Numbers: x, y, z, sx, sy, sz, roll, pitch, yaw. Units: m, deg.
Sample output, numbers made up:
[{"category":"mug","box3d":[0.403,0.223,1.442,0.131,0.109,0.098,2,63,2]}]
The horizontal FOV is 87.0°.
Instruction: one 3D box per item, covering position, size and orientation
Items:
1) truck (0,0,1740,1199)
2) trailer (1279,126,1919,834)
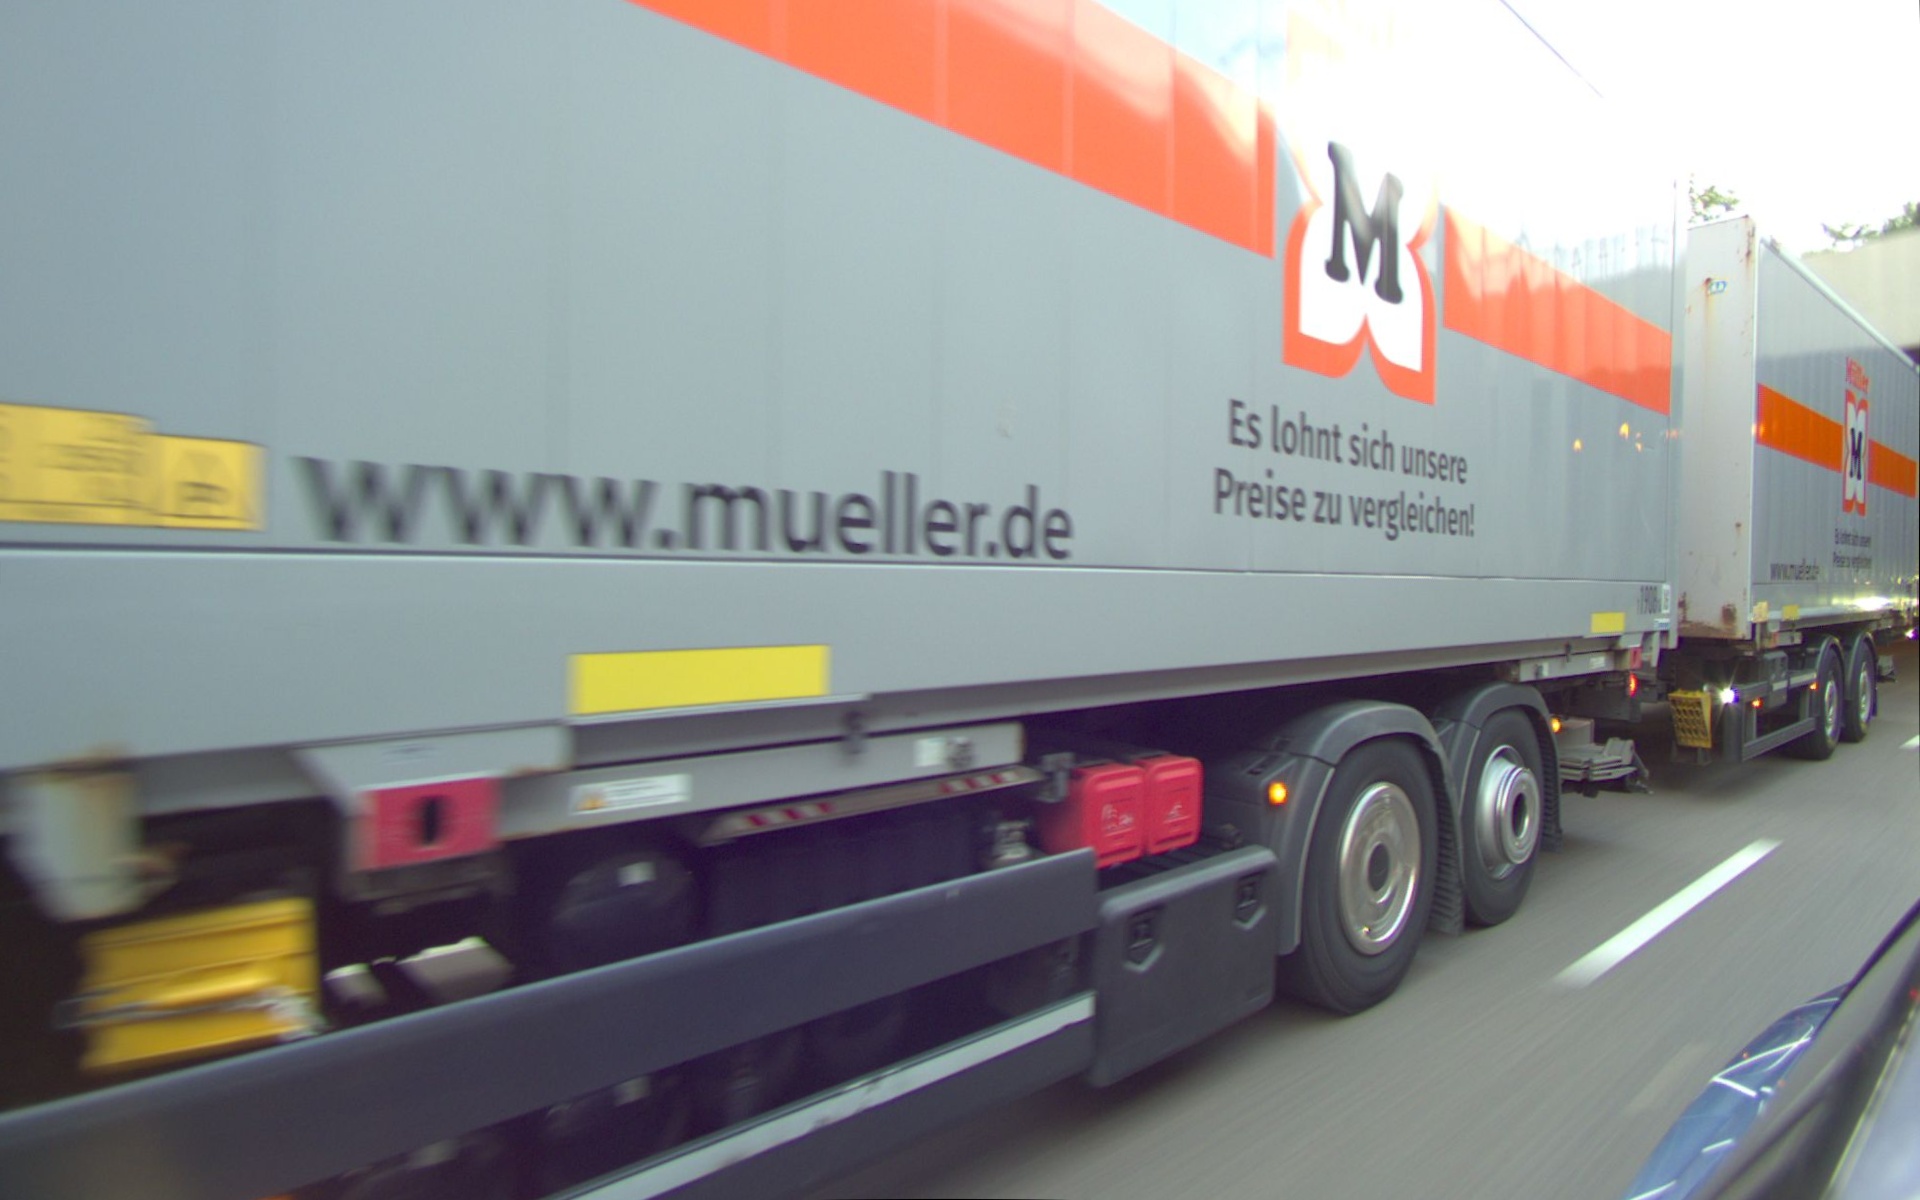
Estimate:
[{"category":"truck","box3d":[-0.339,-0.673,3.519,9.734,3.962,2.894,0,1,-41]},{"category":"trailer","box3d":[6.736,-0.703,9.541,8.789,3.907,2.881,0,1,-40]}]
